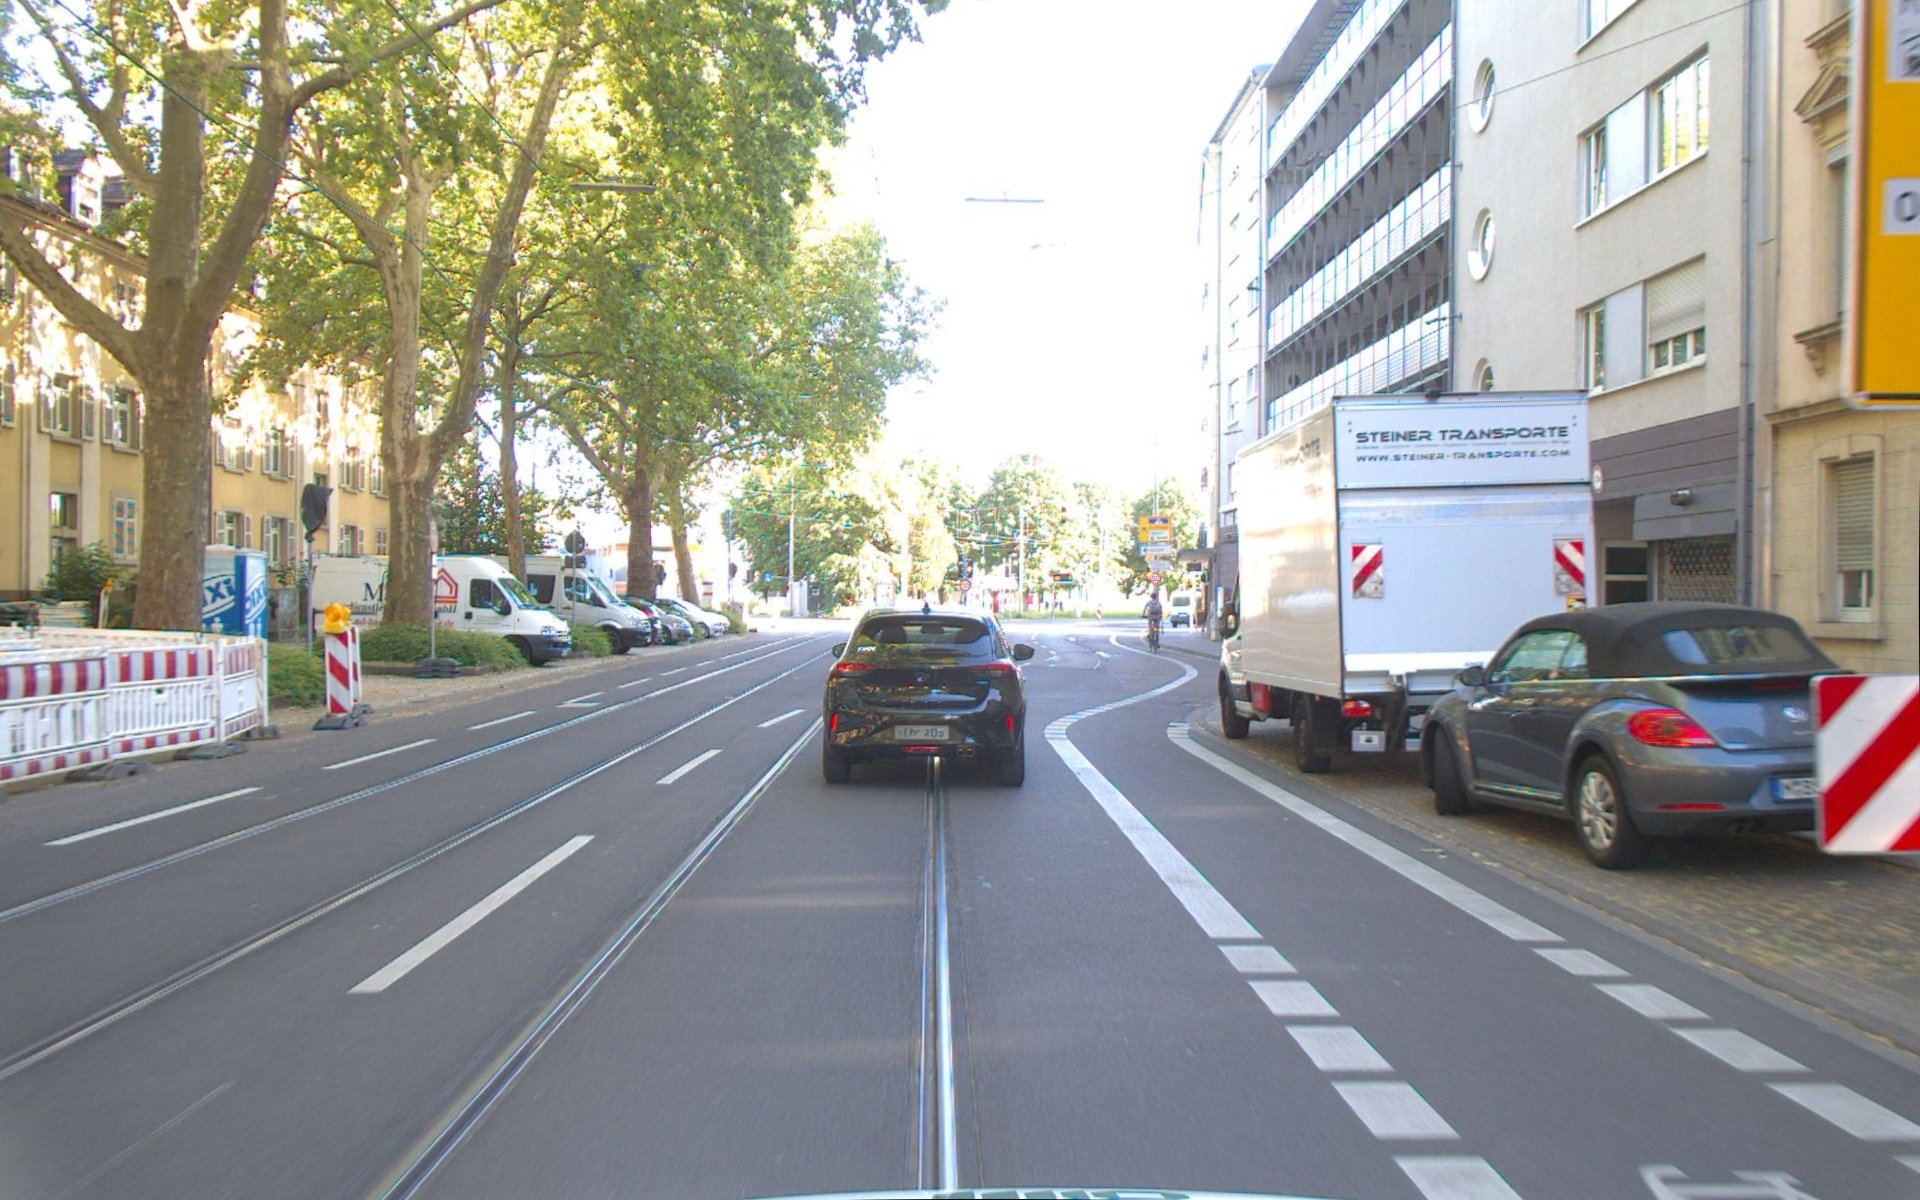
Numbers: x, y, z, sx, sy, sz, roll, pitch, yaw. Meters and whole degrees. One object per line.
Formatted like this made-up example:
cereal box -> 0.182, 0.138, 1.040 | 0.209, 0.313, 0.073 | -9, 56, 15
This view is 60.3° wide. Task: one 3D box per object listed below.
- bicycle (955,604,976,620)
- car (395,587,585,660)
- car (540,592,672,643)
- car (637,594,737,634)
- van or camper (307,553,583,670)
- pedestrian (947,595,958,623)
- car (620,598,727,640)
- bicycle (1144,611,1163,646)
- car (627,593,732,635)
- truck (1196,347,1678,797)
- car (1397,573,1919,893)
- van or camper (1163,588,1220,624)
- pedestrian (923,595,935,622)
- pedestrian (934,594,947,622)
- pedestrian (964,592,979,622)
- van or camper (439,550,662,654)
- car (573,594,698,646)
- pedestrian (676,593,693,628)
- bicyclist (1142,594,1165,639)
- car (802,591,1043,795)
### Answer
bicycle -> 0.362, 0.751, 106.553 | 0.771, 1.009, 2.245 | 1, 0, 15
car -> -11.284, 0.550, 39.932 | 4.086, 1.700, 1.963 | 0, 0, -4
car -> -11.551, 0.578, 54.133 | 3.905, 1.541, 1.650 | 1, 0, 0
car -> -11.729, 0.594, 71.251 | 4.086, 1.700, 1.963 | 0, 0, -4
van or camper -> -11.444, 0.250, 37.023 | 5.387, 2.421, 2.270 | 1, 0, 2
pedestrian -> -0.523, 0.619, 115.045 | 0.604, 1.886, 0.583 | 1, -1, 24
car -> -11.381, 0.758, 65.827 | 3.905, 1.541, 1.650 | 1, 0, 0
bicycle -> 6.276, 0.911, 53.577 | 0.497, 1.086, 1.566 | 0, 0, 11
car -> -11.625, 0.584, 68.739 | 4.086, 1.700, 1.963 | 0, 0, -4
truck -> 4.227, -0.222, 16.466 | 2.487, 3.396, 7.193 | -2, 0, -1
car -> 4.404, 0.684, 10.646 | 1.697, 1.584, 4.146 | -2, 0, -5
van or camper -> 14.832, 0.384, 105.744 | 2.127, 2.183, 4.498 | 1, 0, 29
pedestrian -> -2.140, 0.580, 114.866 | 0.604, 1.886, 0.583 | 1, -1, 24
pedestrian -> -1.364, 0.551, 115.197 | 0.645, 1.966, 0.608 | 1, -1, 31
pedestrian -> 0.534, 0.329, 78.830 | 0.639, 1.387, 0.645 | 0, 0, 6
van or camper -> -11.387, 0.052, 46.270 | 5.607, 2.690, 2.269 | 1, 0, -1
car -> -11.076, 0.683, 56.644 | 3.905, 1.680, 1.650 | 1, 0, 0
pedestrian -> -17.949, 0.689, 107.751 | 0.812, 2.259, 0.888 | 2, -1, -35
bicyclist -> 6.288, 0.529, 53.611 | 0.691, 1.461, 0.703 | 0, 0, 11
car -> -0.189, 0.697, 14.656 | 1.744, 1.522, 4.002 | 1, 0, 4
